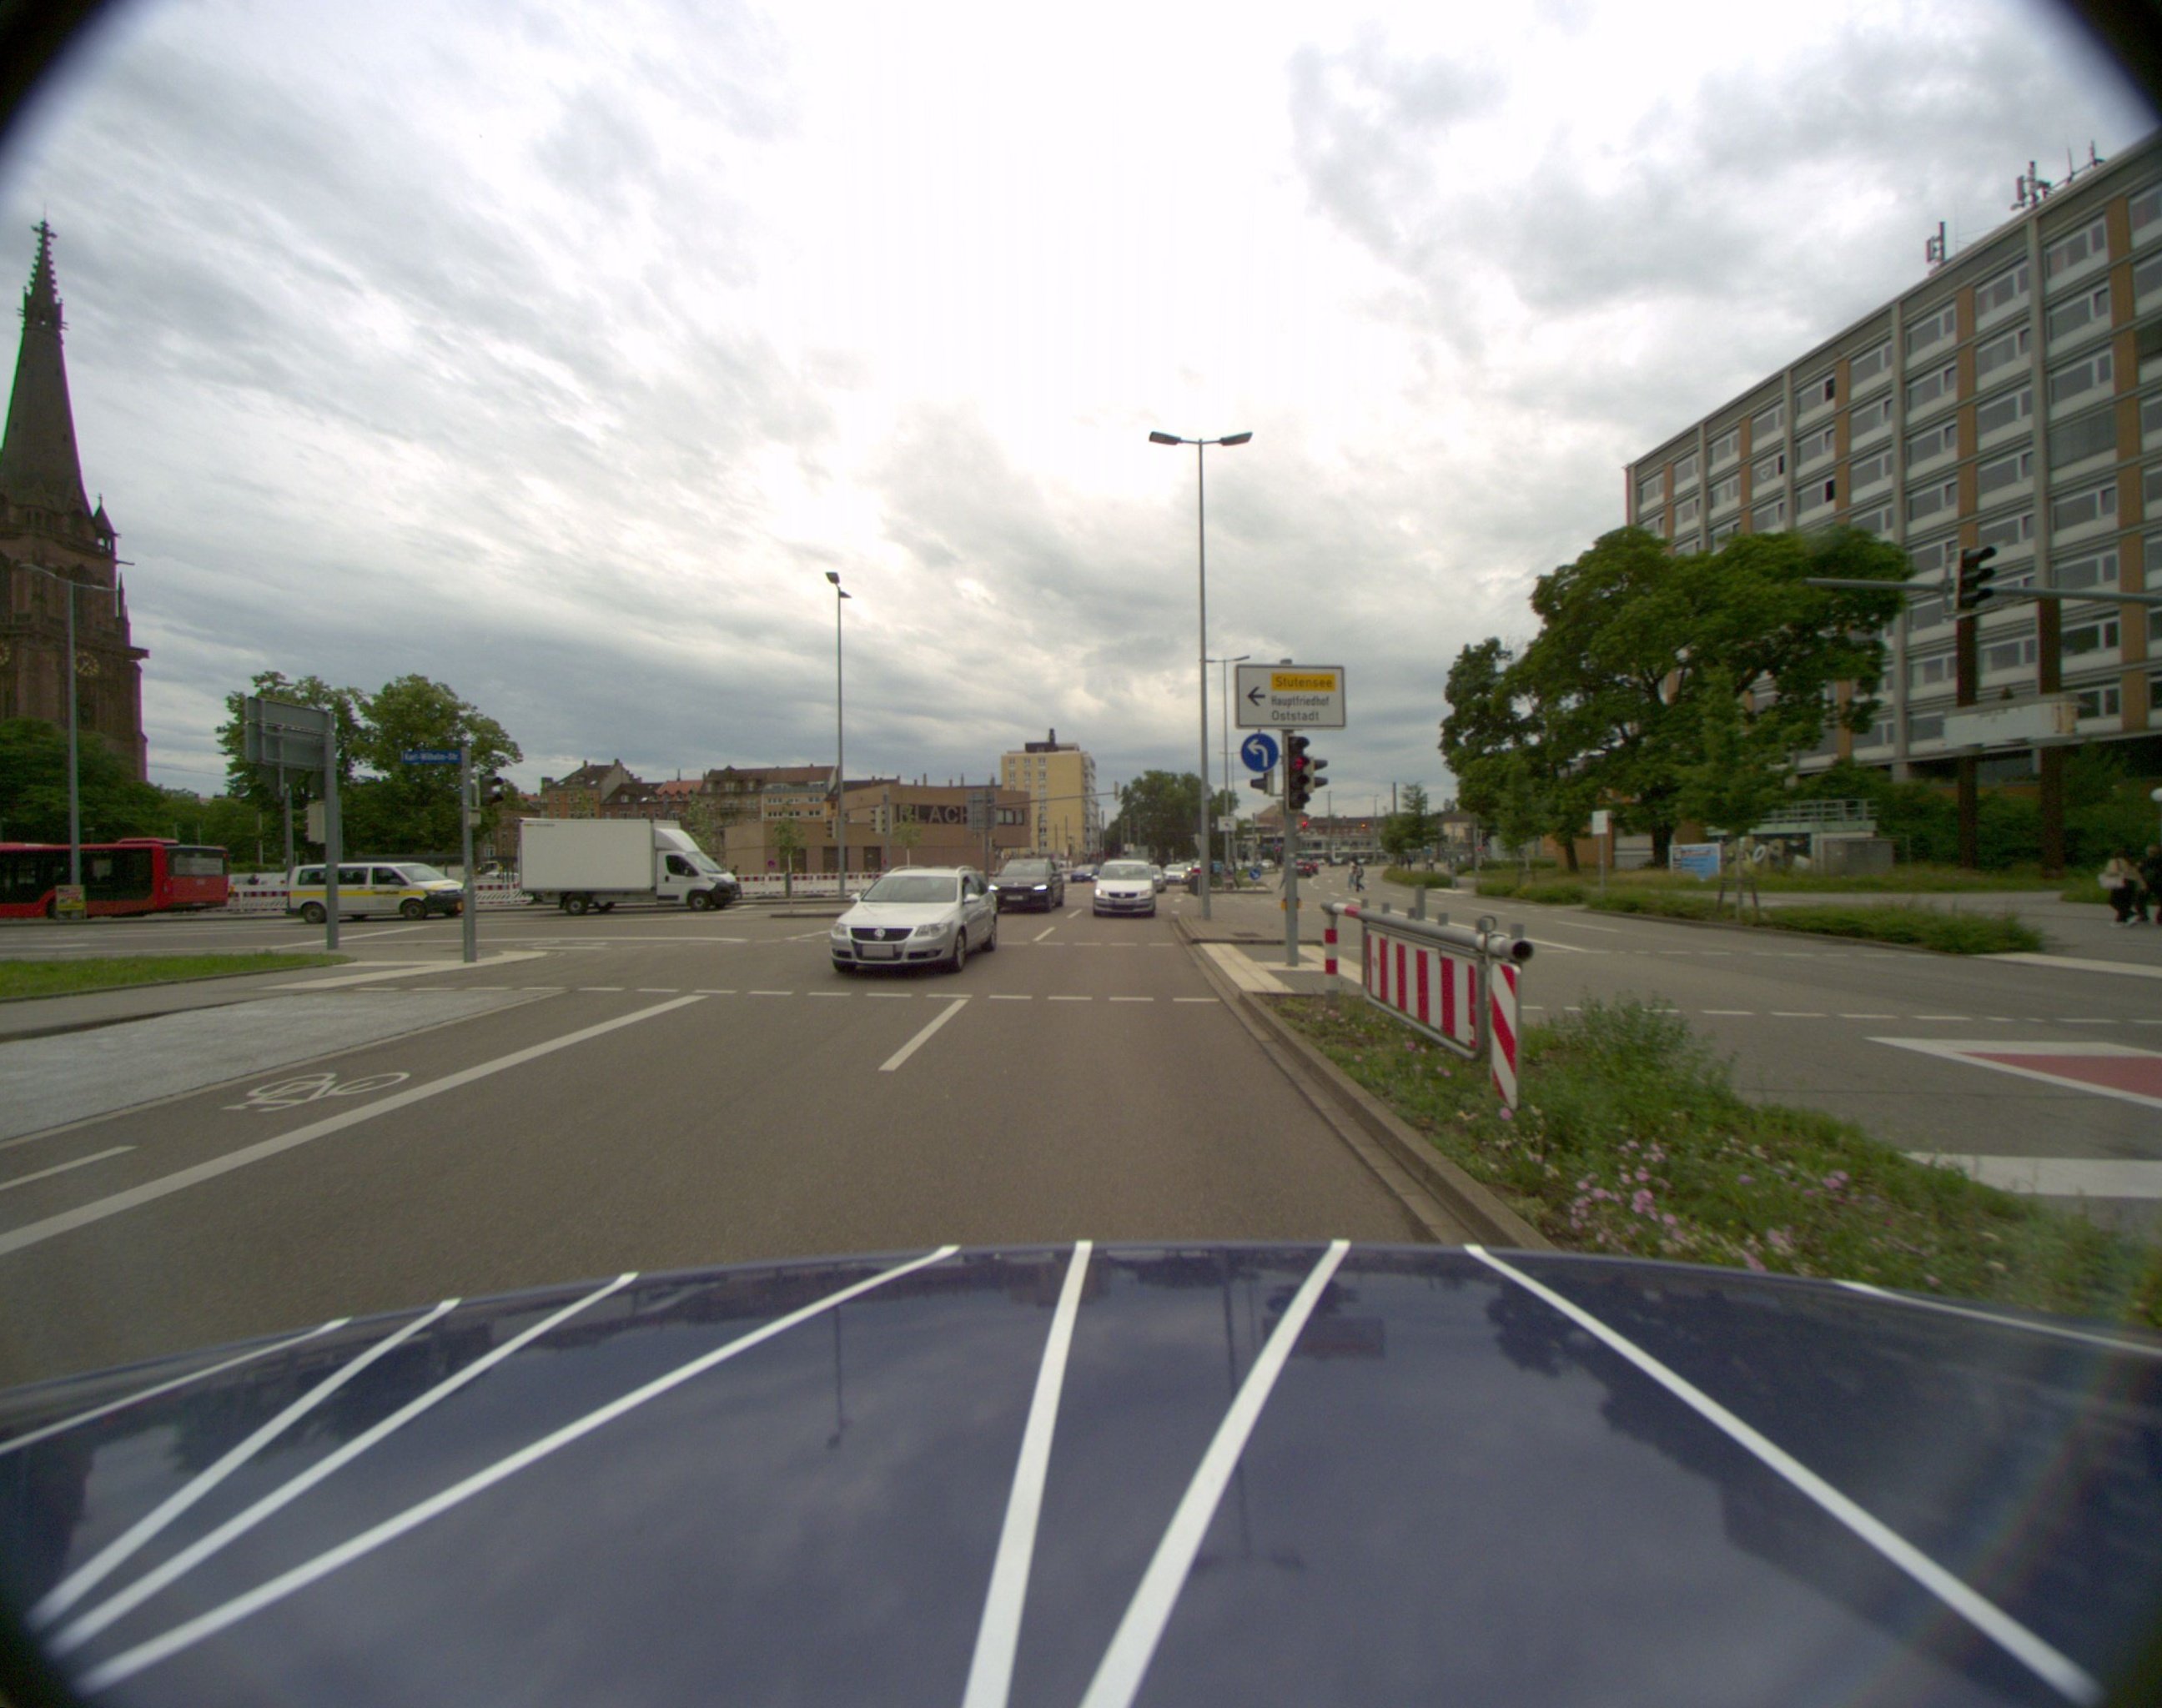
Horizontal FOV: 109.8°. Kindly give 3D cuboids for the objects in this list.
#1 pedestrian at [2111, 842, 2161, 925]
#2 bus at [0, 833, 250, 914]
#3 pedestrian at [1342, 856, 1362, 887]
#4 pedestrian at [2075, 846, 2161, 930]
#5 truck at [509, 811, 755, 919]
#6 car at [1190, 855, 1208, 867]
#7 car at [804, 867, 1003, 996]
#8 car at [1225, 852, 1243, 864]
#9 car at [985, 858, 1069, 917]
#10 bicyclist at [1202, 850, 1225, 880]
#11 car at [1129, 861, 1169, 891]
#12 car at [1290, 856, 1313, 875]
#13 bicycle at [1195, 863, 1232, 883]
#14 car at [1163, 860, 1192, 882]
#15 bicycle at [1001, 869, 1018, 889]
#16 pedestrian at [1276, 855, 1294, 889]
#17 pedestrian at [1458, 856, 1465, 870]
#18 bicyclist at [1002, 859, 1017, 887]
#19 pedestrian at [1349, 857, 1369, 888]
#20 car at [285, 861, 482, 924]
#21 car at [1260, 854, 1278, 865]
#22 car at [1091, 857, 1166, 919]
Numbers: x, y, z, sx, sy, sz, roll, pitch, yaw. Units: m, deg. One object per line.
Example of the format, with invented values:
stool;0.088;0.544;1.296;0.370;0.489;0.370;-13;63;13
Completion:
pedestrian;22.300;0.593;15.729;0.708;1.661;0.890;-2;0;2
bus;-40.488;0.806;29.534;12.093;2.891;2.936;-1;0;-6
pedestrian;15.458;0.990;43.410;0.769;1.794;0.739;0;0;-24
pedestrian;21.547;0.690;15.717;0.708;1.661;0.943;-1;0;2
truck;-15.527;0.310;26.766;6.853;3.392;2.558;-2;2;-7
car;14.855;0.916;95.778;1.817;1.466;4.038;0;0;15
car;-2.488;1.023;11.908;1.829;1.541;4.528;0;0;3
car;22.530;0.593;111.705;1.801;1.586;3.766;0;0;23
car;-1.595;0.984;24.161;1.911;1.615;4.492;0;0;6
bicyclist;7.791;0.653;44.700;1.191;1.725;0.806;0;0;0
car;3.649;1.147;40.276;1.725;1.406;4.249;-2;0;10
car;21.187;1.053;72.853;1.813;1.657;3.955;0;1;20
bicycle;7.783;1.116;44.720;2.005;1.136;0.806;0;0;0
car;7.054;1.217;55.427;1.784;1.454;3.874;-2;0;12
bicycle;-4.175;1.475;44.487;0.694;1.123;1.868;1;0;5
pedestrian;10.954;0.942;40.823;0.918;1.794;0.541;1;0;14
pedestrian;44.232;1.062;88.299;0.652;1.611;0.471;1;0;6
bicyclist;-4.168;1.107;44.478;0.694;1.626;0.884;1;0;5
pedestrian;14.951;1.003;40.863;0.778;1.657;0.706;1;0;-10
car;-23.562;1.268;25.826;4.712;1.908;1.919;-1;2;-3
car;31.924;0.986;129.145;1.994;1.805;4.008;0;0;29
car;1.321;0.937;22.766;1.734;1.593;4.104;-2;0;-3
